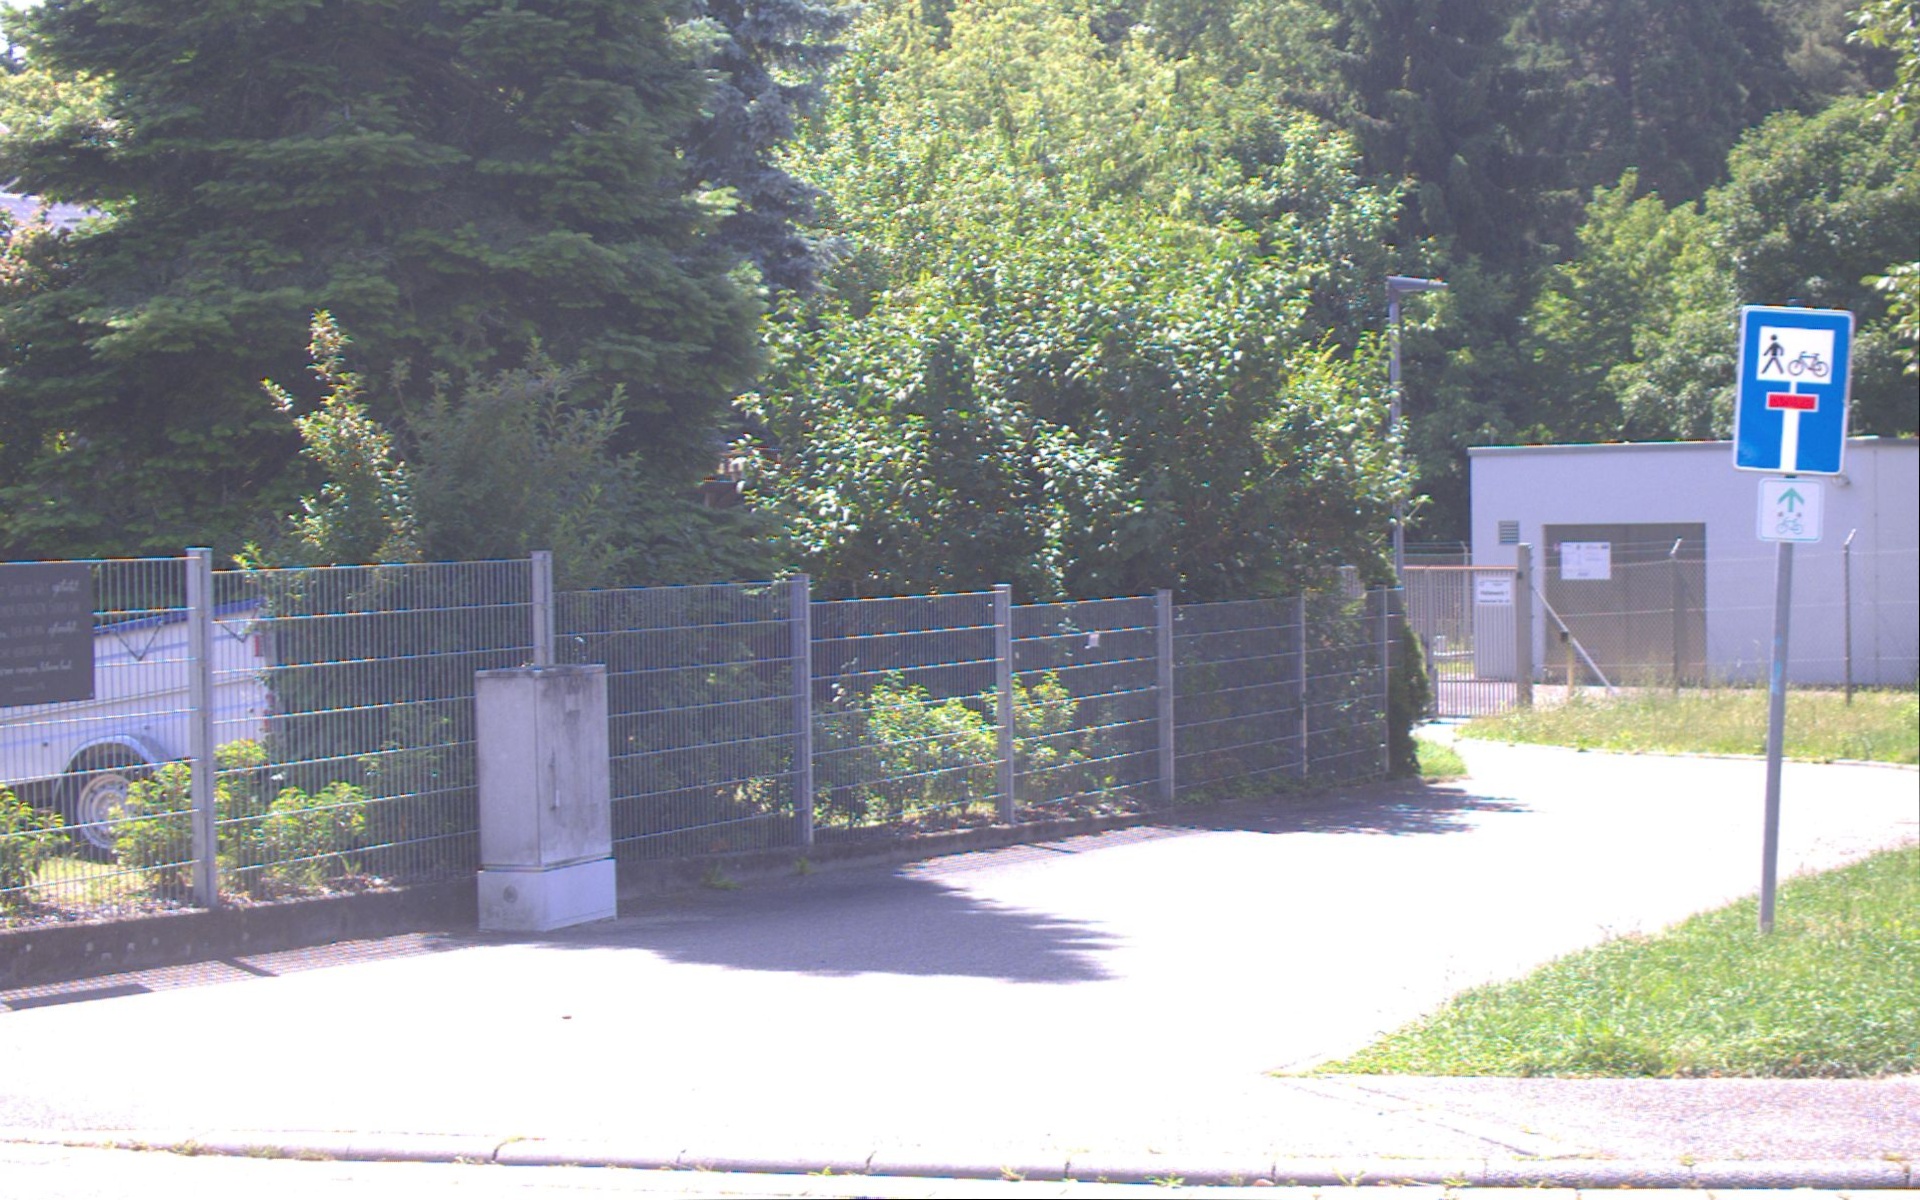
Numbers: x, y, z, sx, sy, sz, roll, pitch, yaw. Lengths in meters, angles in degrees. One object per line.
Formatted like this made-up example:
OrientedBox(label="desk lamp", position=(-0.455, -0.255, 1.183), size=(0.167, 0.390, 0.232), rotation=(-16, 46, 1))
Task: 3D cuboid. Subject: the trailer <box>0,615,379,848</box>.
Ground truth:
OrientedBox(label="trailer", position=(-4.197, 0.636, 17.374), size=(2.217, 1.080, 1.105), rotation=(0, 1, 18))
